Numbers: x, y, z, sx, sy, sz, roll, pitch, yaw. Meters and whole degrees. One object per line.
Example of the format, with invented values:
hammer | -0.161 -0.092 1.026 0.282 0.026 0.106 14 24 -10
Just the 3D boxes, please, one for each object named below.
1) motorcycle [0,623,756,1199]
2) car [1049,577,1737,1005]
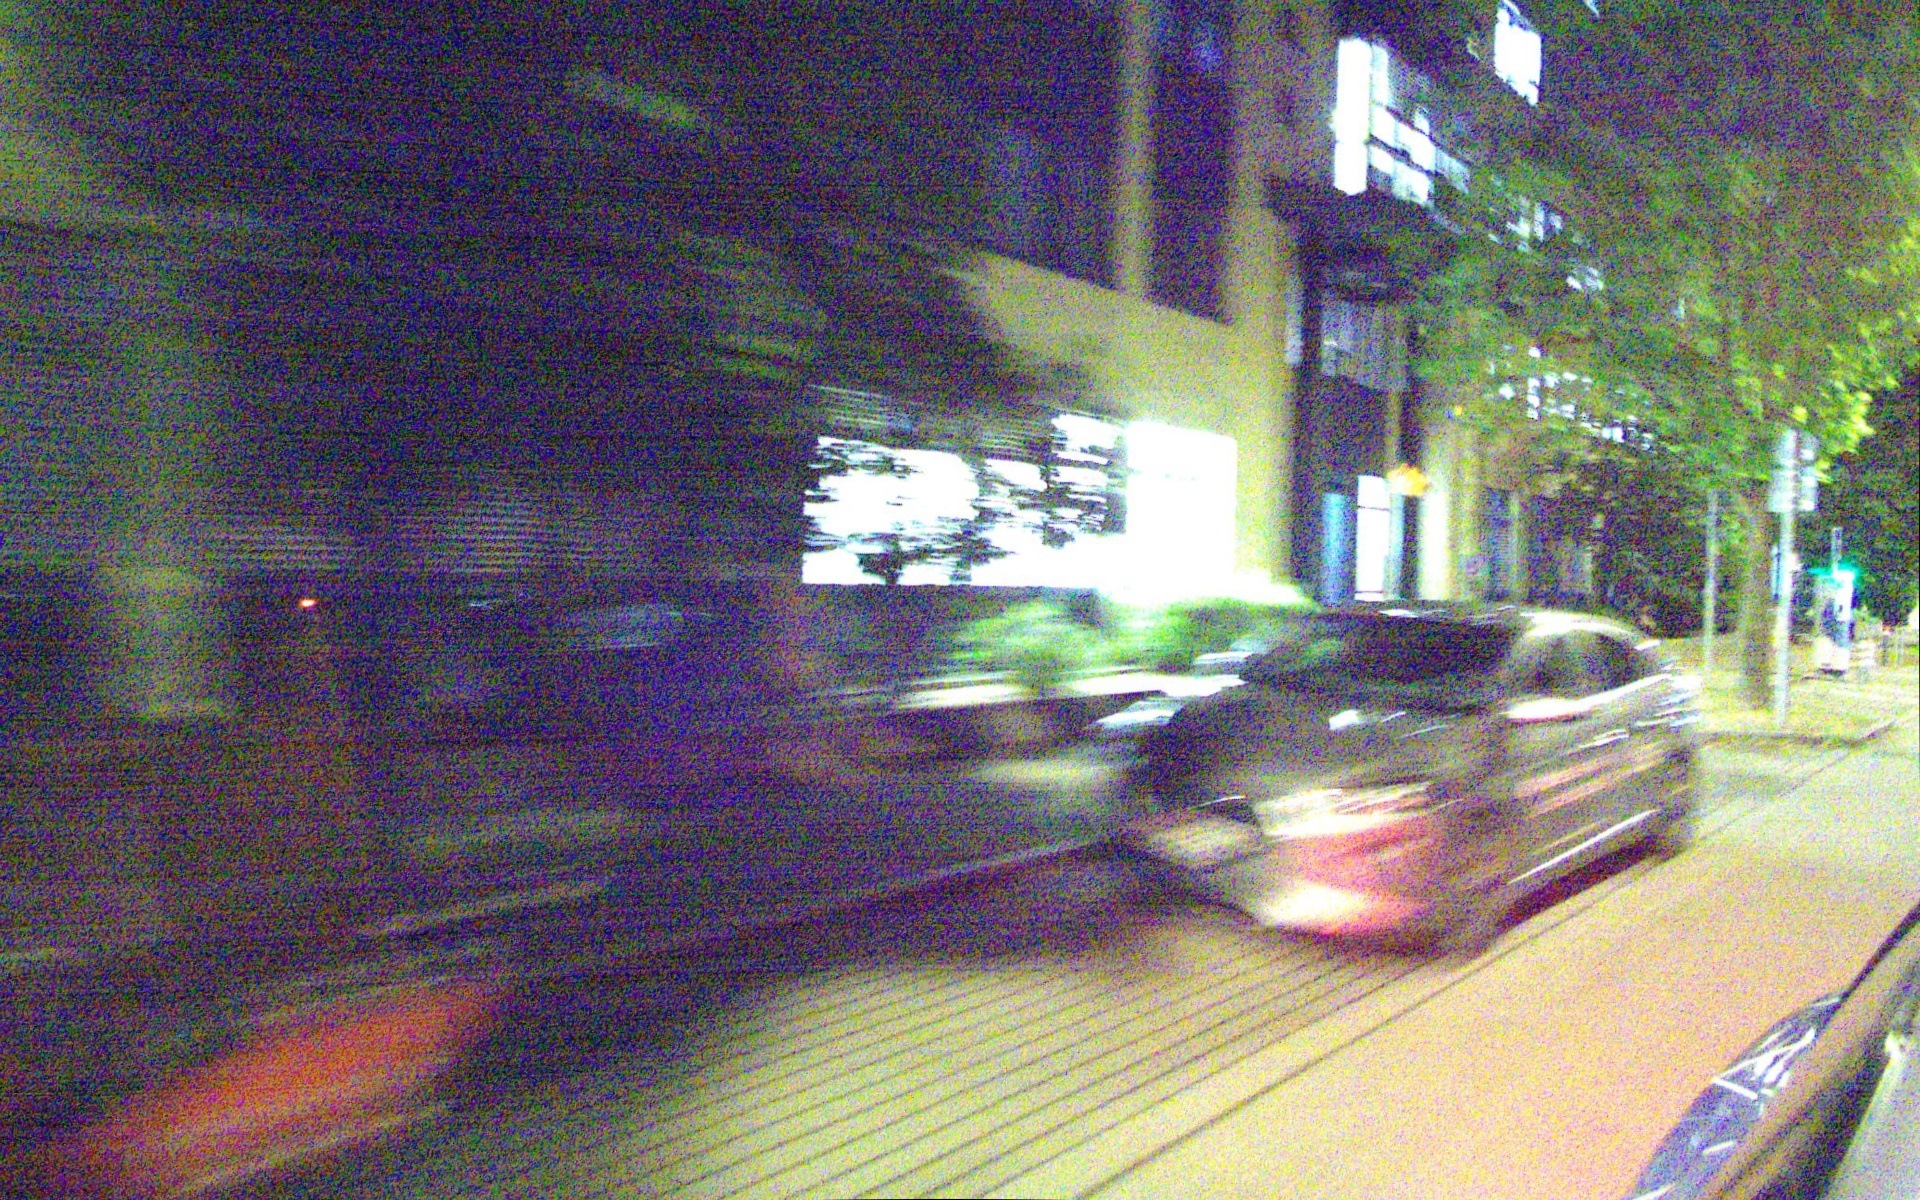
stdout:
motorcycle | -1.386 0.756 1.649 0.919 1.299 2.216 3 2 24
car | 2.560 0.668 5.516 4.072 1.446 1.673 0 3 -39
